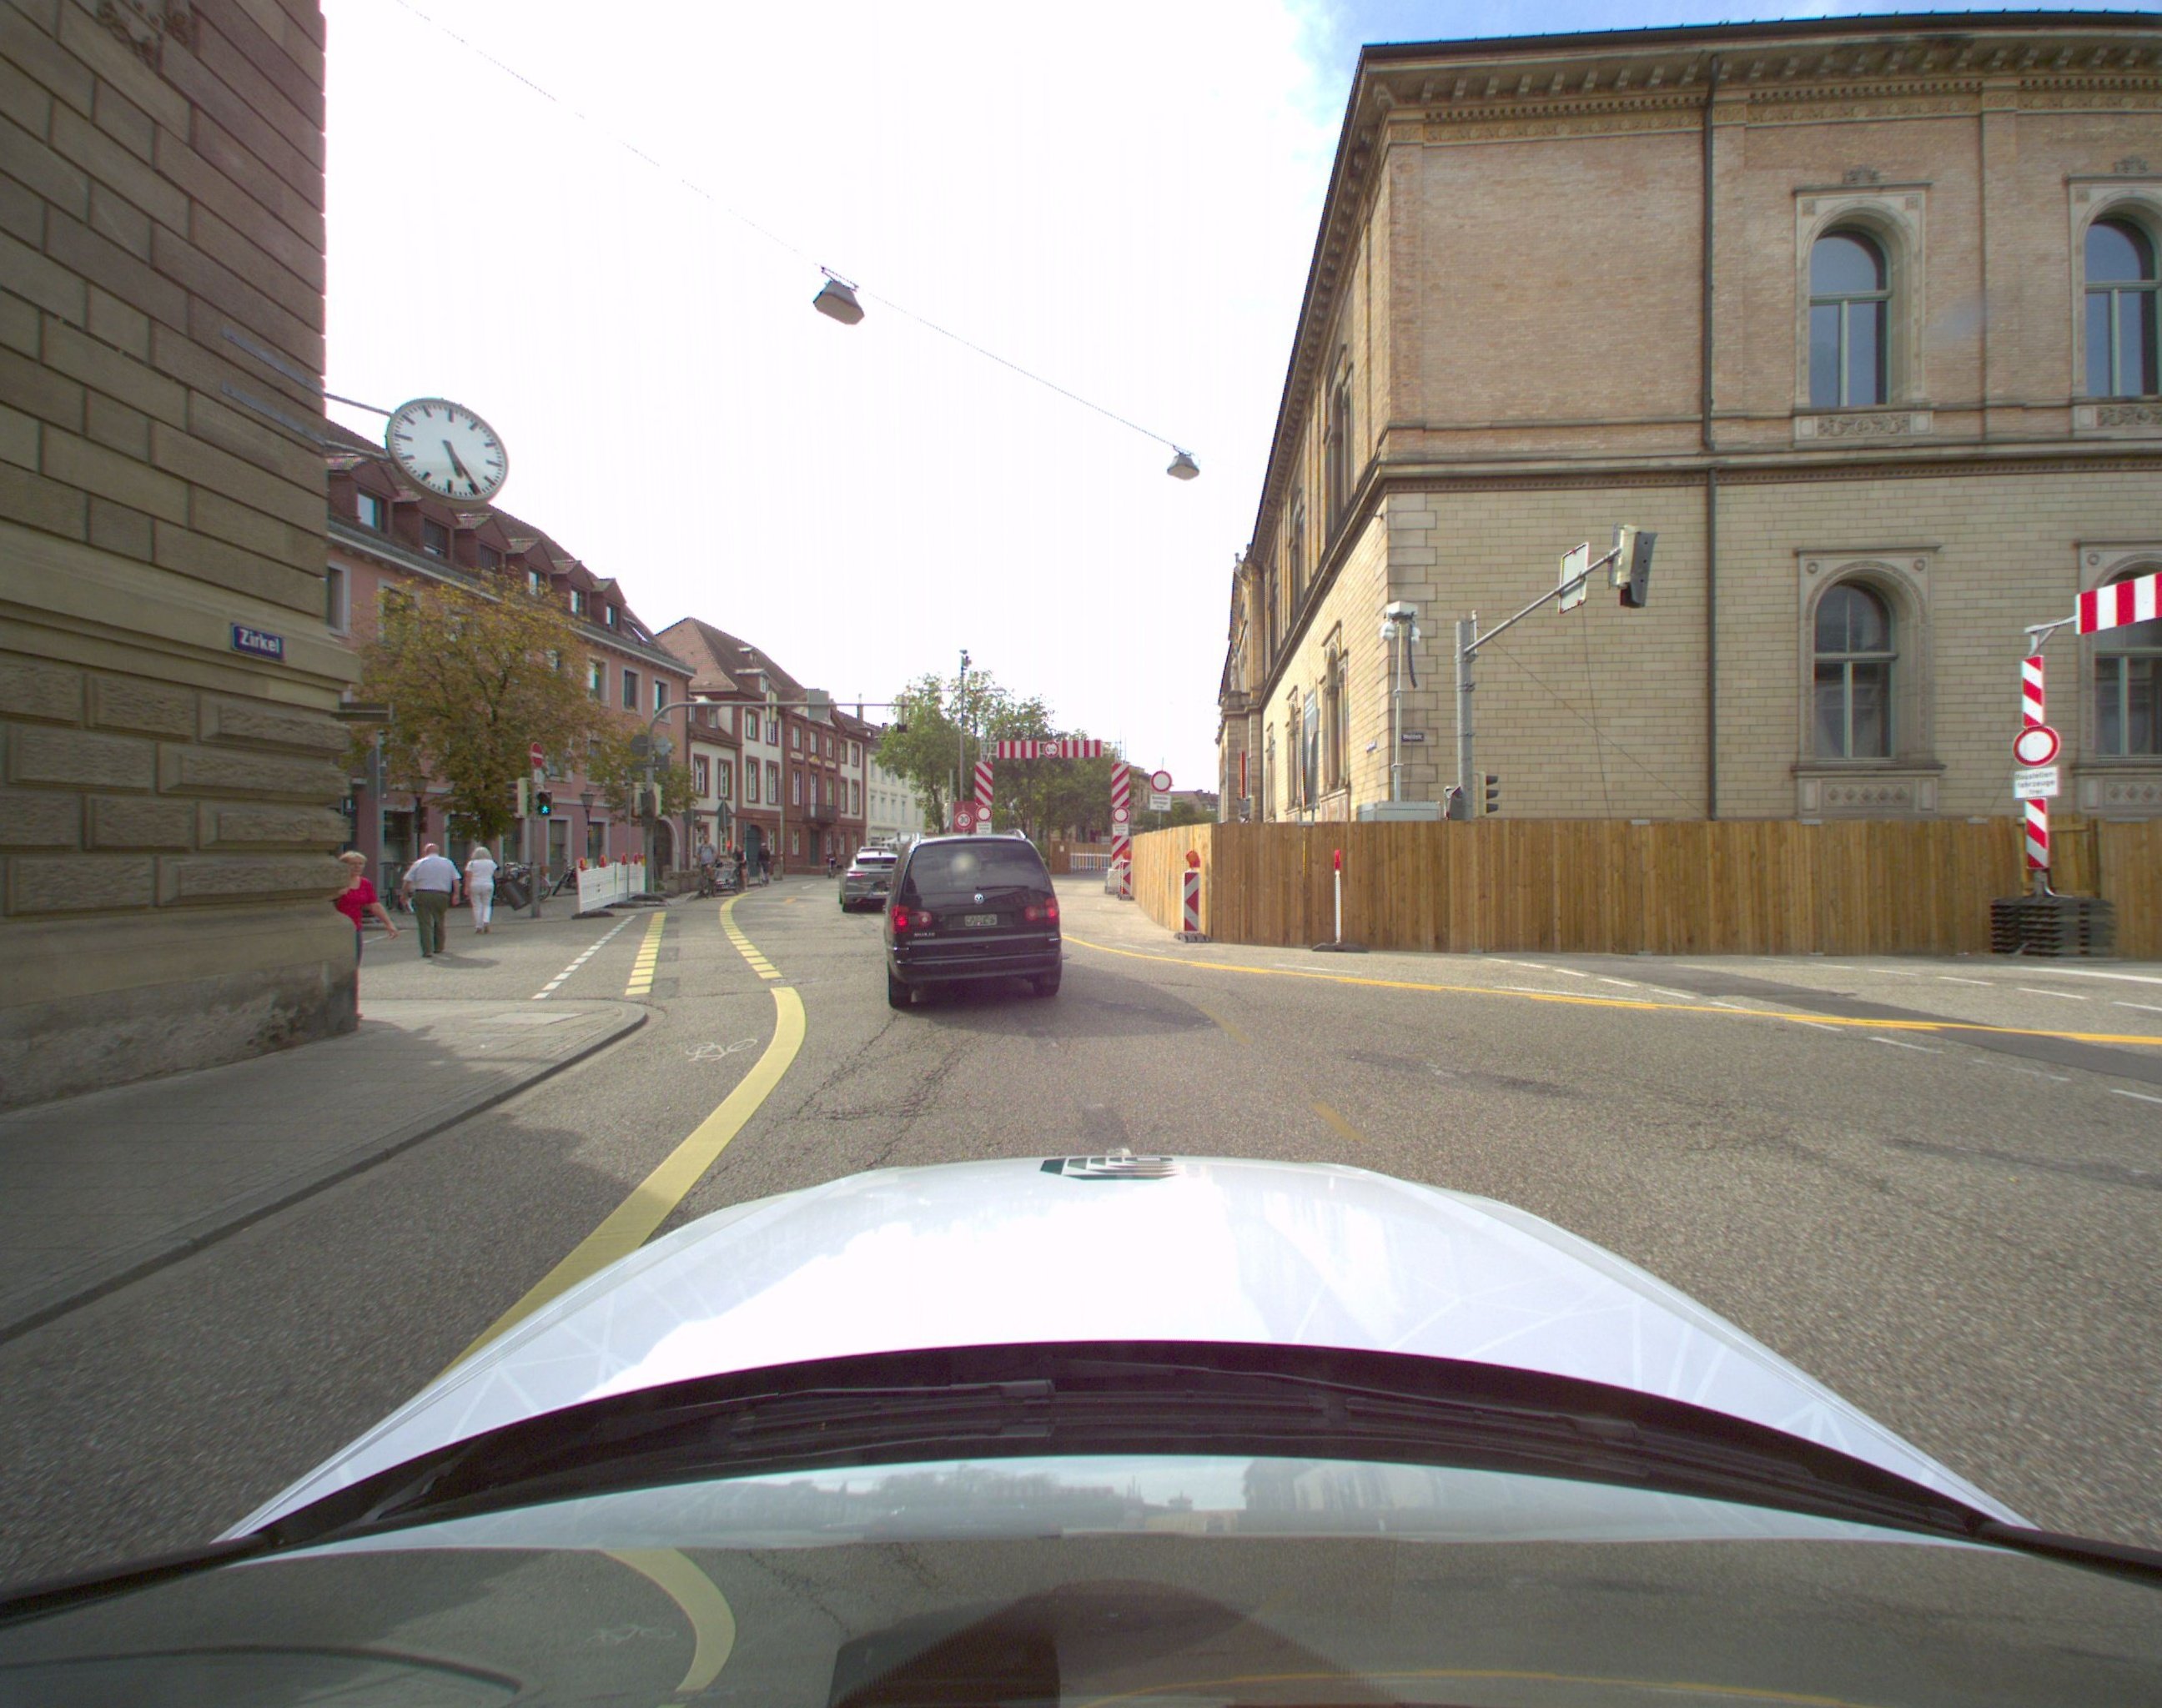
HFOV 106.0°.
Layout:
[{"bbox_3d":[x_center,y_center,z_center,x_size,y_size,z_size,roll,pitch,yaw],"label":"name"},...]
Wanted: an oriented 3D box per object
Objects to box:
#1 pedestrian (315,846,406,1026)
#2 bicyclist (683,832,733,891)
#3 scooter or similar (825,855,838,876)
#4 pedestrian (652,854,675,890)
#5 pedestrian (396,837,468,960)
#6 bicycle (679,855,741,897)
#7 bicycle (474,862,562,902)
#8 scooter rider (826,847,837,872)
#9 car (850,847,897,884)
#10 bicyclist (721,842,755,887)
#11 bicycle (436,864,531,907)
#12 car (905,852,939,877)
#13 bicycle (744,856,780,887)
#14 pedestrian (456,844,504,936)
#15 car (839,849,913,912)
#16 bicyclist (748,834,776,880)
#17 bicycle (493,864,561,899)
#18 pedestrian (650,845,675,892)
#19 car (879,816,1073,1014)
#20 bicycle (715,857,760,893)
[{"bbox_3d":[-6.917,0.745,7.822,0.620,1.634,0.537,0,-1,-45],"label":"pedestrian"},{"bbox_3d":[-11.827,0.227,25.869,1.091,1.824,1.361,0,-1,-9],"label":"bicyclist"},{"bbox_3d":[-14.798,0.680,48.309,0.600,1.255,1.545,0,0,-13],"label":"scooter or similar"},{"bbox_3d":[-19.840,0.858,38.685,0.662,1.677,0.698,-2,0,0],"label":"pedestrian"},{"bbox_3d":[-10.150,0.674,12.754,0.853,1.835,0.847,0,-1,-39],"label":"pedestrian"},{"bbox_3d":[-11.849,0.684,26.144,1.056,1.255,3.031,0,0,-9],"label":"bicycle"},{"bbox_3d":[-16.023,0.790,23.191,2.048,1.059,0.504,-1,-1,-6],"label":"bicycle"},{"bbox_3d":[-14.797,0.342,48.315,0.600,1.490,0.676,0,-1,-13],"label":"scooter rider"},{"bbox_3d":[-9.319,0.494,36.316,1.778,1.586,3.975,0,0,-18],"label":"car"},{"bbox_3d":[-12.532,0.364,29.801,0.926,1.609,1.060,0,-1,-9],"label":"bicyclist"},{"bbox_3d":[-15.795,0.818,21.557,2.048,1.059,0.504,-1,-1,-6],"label":"bicycle"},{"bbox_3d":[-10.532,0.682,54.071,1.770,1.586,3.993,0,0,-5],"label":"car"},{"bbox_3d":[-13.820,0.741,35.371,0.926,1.255,2.533,0,0,-9],"label":"bicycle"},{"bbox_3d":[-11.506,0.669,15.586,0.669,1.677,0.690,-2,0,-39],"label":"pedestrian"},{"bbox_3d":[-5.393,0.631,21.129,1.682,1.469,4.079,0,0,-17],"label":"car"},{"bbox_3d":[-13.814,0.140,35.304,0.926,1.963,1.102,0,-1,-9],"label":"bicyclist"},{"bbox_3d":[-19.413,0.957,28.593,0.667,1.139,2.065,-2,0,13],"label":"bicycle"},{"bbox_3d":[-15.191,0.528,29.556,0.669,1.677,0.690,-2,0,-39],"label":"pedestrian"},{"bbox_3d":[-1.370,0.565,9.589,1.791,1.790,4.086,0,0,-12],"label":"car"},{"bbox_3d":[-12.522,0.731,29.757,0.926,1.255,2.533,0,0,-9],"label":"bicycle"}]
